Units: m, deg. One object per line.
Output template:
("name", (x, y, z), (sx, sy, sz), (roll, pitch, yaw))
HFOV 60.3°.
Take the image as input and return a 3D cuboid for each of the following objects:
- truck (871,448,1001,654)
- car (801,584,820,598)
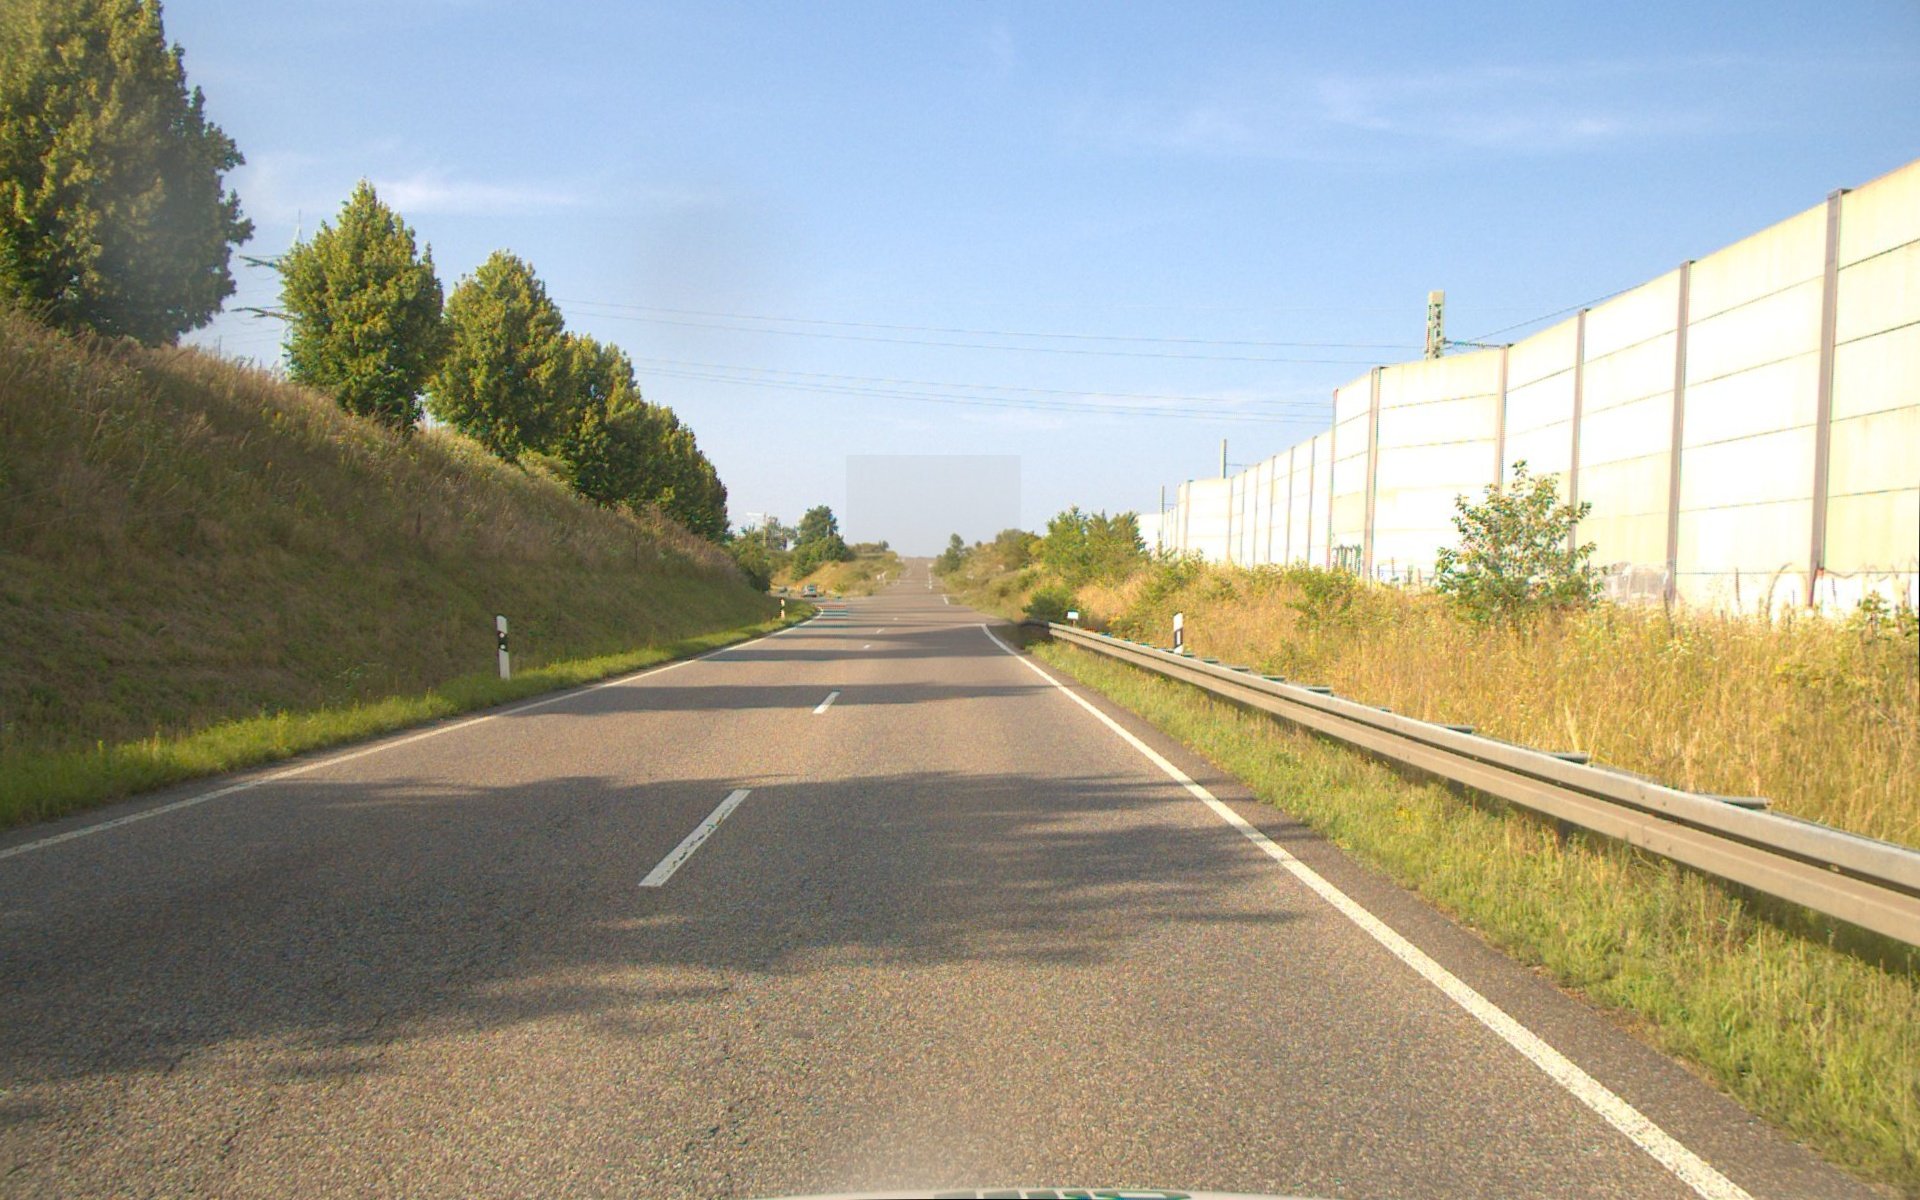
("truck", (-0.835, -1.333, 48.108), (3.224, 5.178, 12.033), (1, 1, -2))
("car", (-18.799, -1.136, 207.796), (2.004, 1.609, 4.359), (1, 0, -1))
